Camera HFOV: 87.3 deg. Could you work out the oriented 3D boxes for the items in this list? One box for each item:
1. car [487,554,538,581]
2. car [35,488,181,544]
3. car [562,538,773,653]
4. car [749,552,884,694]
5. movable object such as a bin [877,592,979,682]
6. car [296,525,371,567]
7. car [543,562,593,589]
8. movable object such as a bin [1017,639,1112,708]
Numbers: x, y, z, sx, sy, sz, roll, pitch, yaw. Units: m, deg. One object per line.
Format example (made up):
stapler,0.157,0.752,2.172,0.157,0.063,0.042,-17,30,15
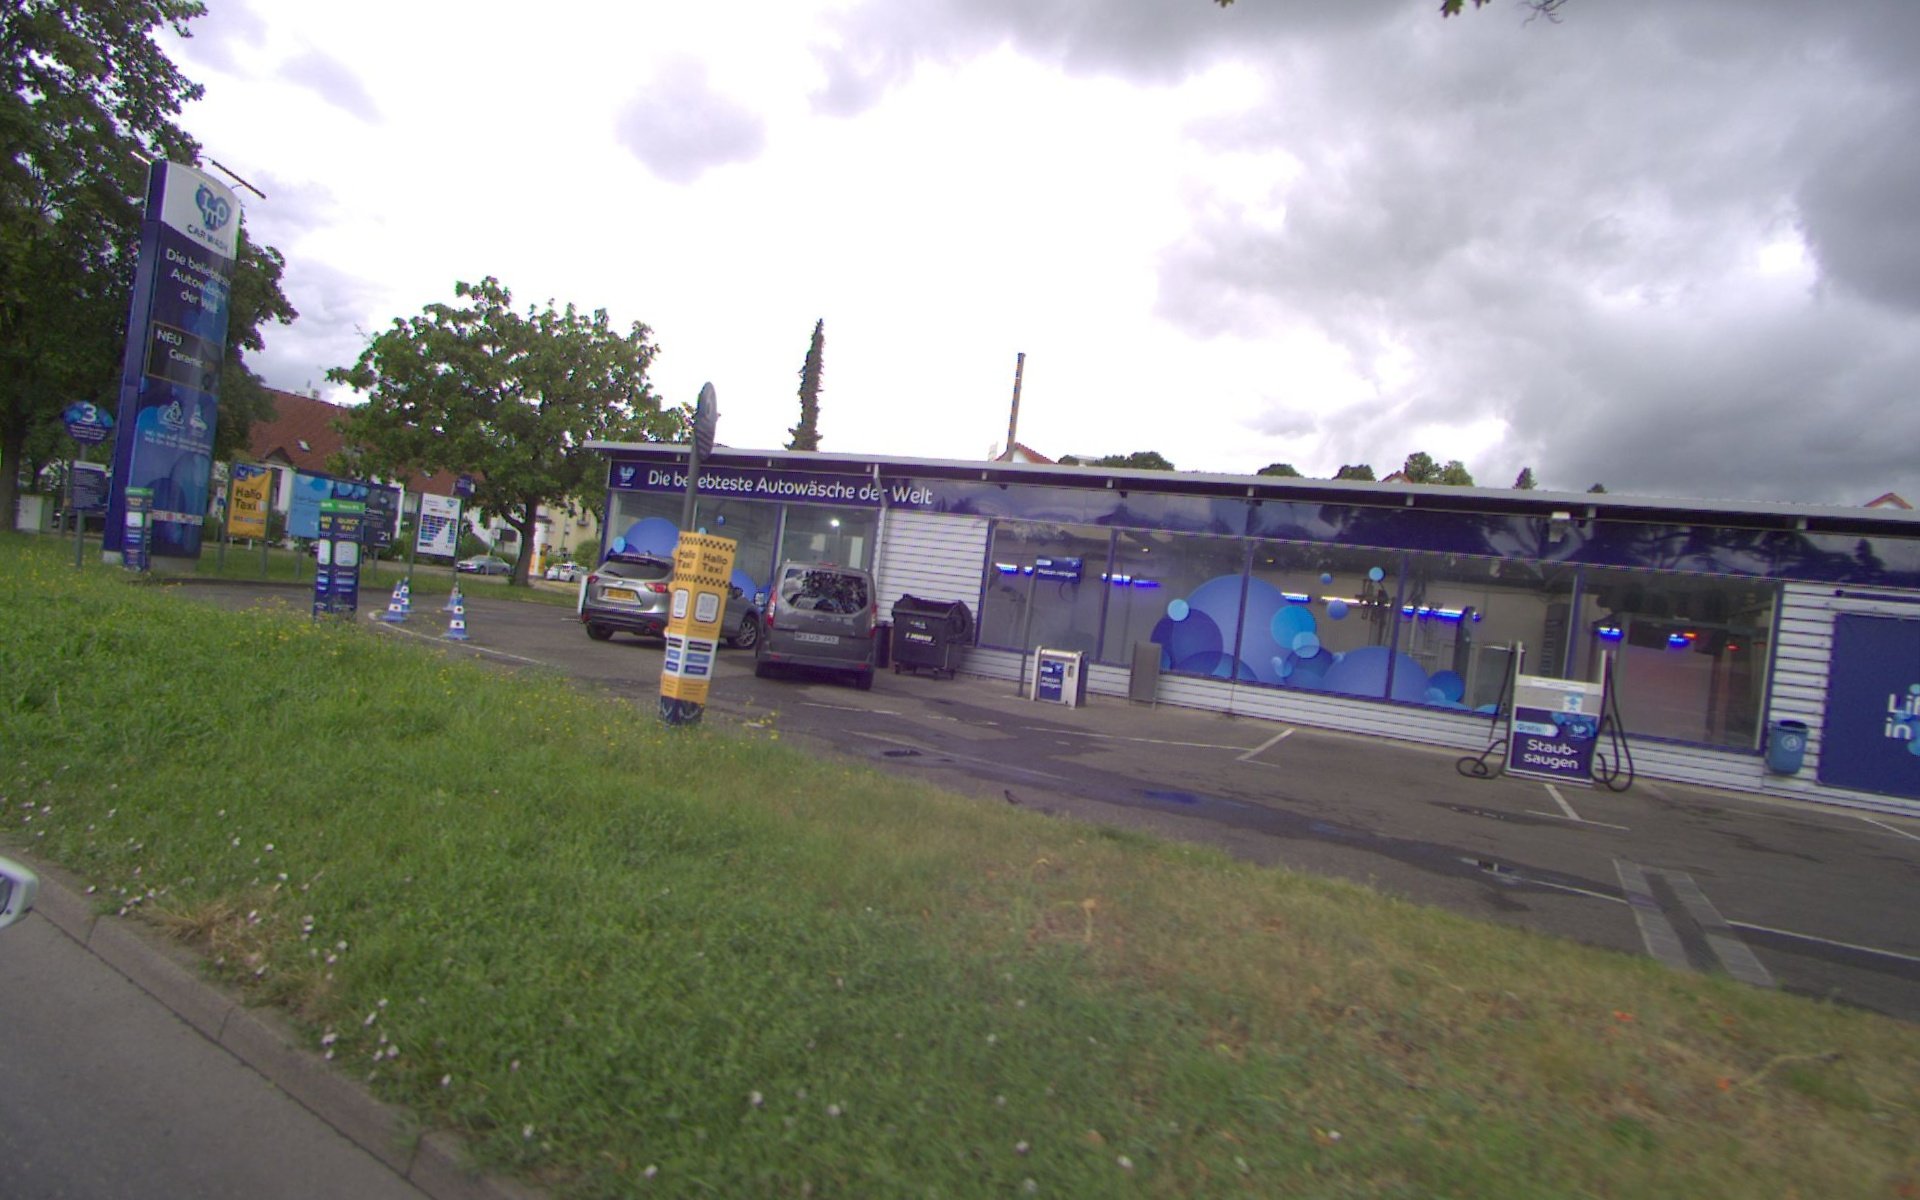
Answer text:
car,-35.990,-2.569,80.998,1.963,1.441,4.474,9,-3,0
car,-34.547,-3.390,40.882,1.678,1.544,4.154,6,-2,37
car,-5.354,-0.002,19.057,1.805,1.718,4.215,8,0,14
car,-2.464,0.325,16.656,1.722,1.843,4.375,7,-1,-11
movable object such as a bin,-0.594,0.706,18.858,1.363,1.492,1.161,7,0,28
car,-37.211,-3.169,59.886,1.965,1.784,4.002,9,-3,-5
car,-29.116,-1.768,74.795,1.964,1.535,4.001,9,-1,0
movable object such as a bin,1.788,1.241,17.065,1.167,0.988,1.161,7,0,28
